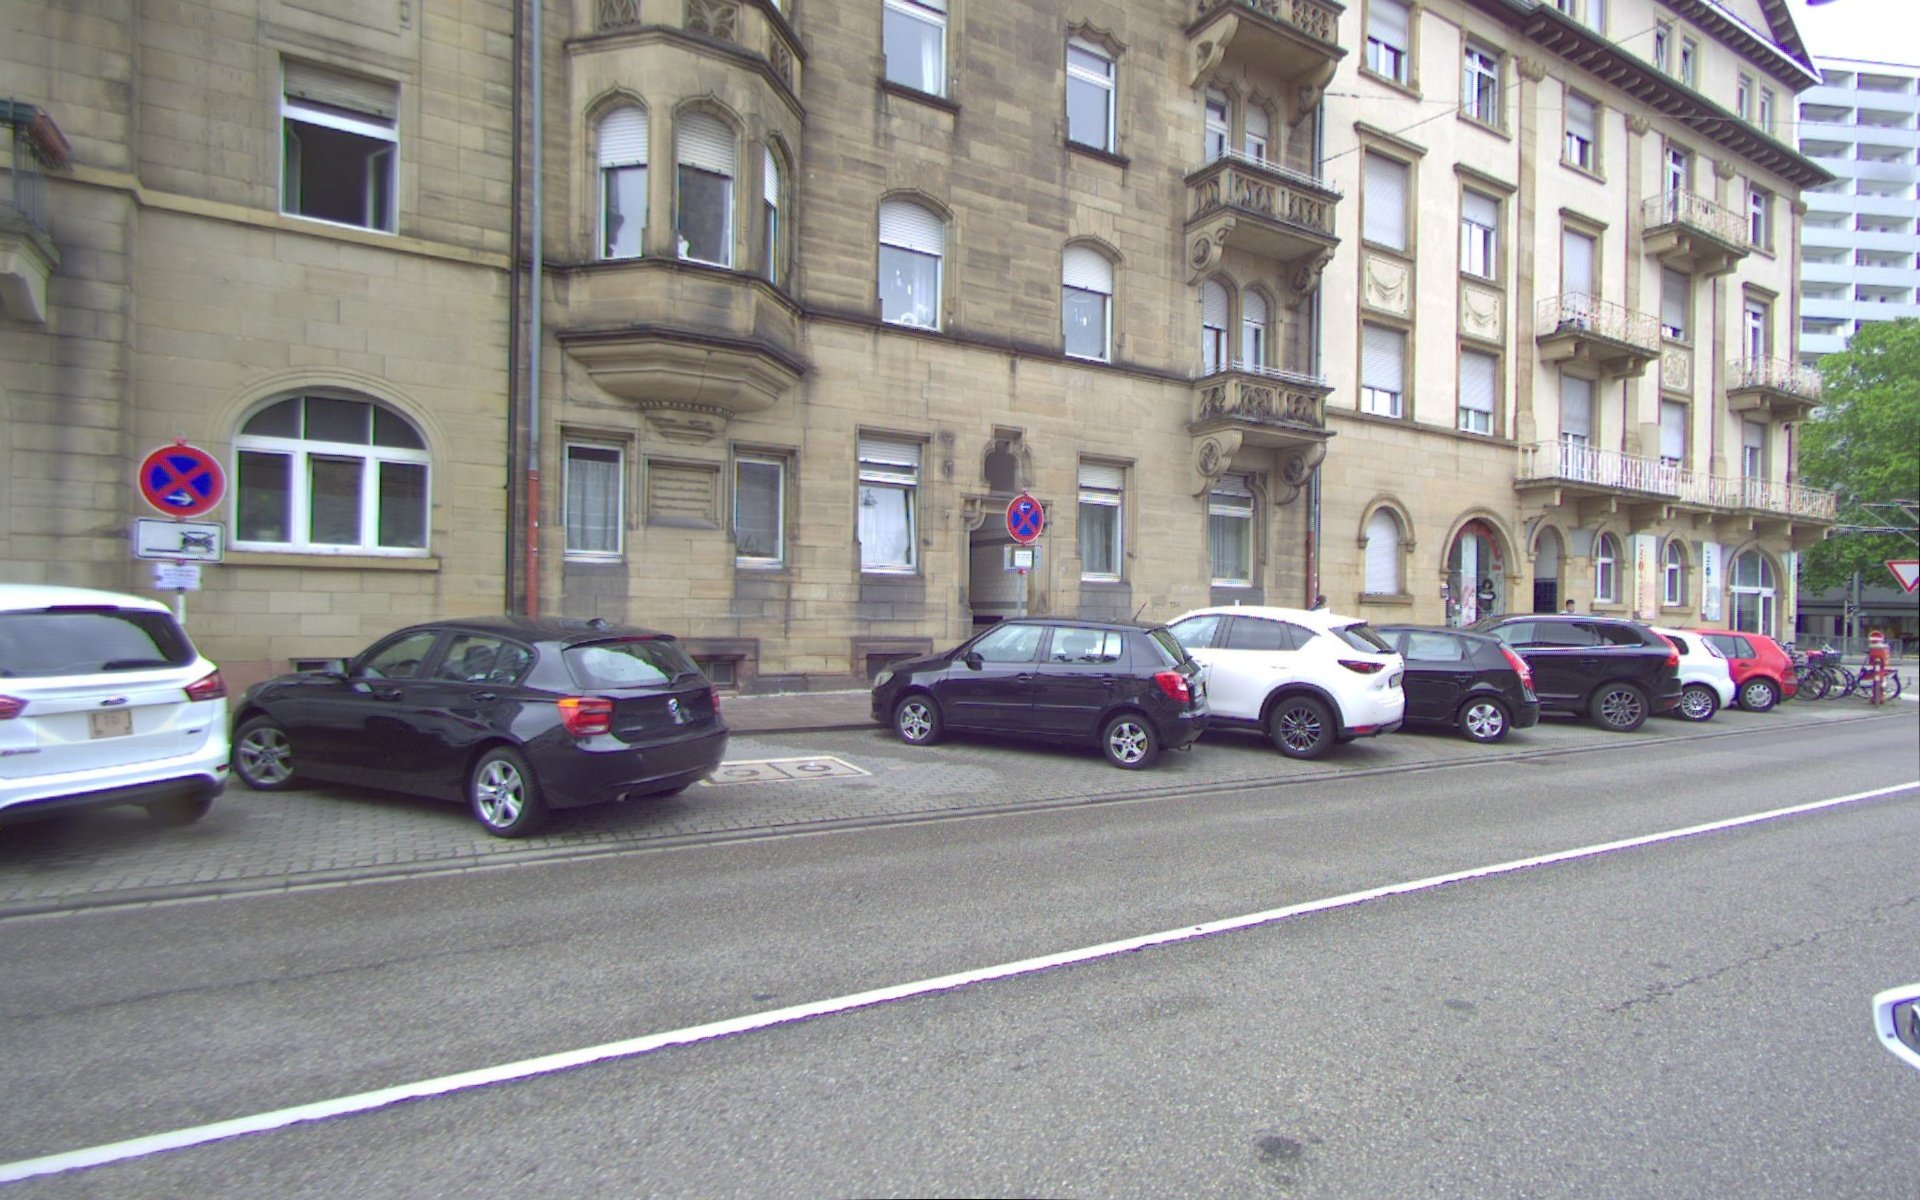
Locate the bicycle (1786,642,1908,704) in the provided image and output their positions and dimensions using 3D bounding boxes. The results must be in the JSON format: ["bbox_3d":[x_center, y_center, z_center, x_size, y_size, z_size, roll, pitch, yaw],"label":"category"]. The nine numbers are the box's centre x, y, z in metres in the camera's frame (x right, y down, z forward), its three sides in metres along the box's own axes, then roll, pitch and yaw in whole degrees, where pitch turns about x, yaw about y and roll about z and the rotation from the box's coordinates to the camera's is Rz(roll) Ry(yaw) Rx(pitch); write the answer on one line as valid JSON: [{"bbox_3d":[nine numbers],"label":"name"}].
[{"bbox_3d":[19.257,1.558,21.853,0.437,1.050,1.876,1,5,-31],"label":"bicycle"}]

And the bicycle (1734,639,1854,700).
[{"bbox_3d":[17.998,1.482,21.720,0.437,1.050,1.876,1,5,-31],"label":"bicycle"}]

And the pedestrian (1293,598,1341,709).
[{"bbox_3d":[6.542,0.966,18.425,0.544,1.984,0.616,1,-1,-29],"label":"pedestrian"}]

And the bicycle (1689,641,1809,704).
[{"bbox_3d":[16.255,1.475,20.759,0.436,1.050,1.879,1,4,-26],"label":"bicycle"}]

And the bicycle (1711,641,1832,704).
[{"bbox_3d":[16.993,1.494,21.090,0.437,1.050,1.876,1,5,-31],"label":"bicycle"}]

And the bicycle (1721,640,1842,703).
[{"bbox_3d":[17.443,1.488,21.371,0.437,1.050,1.876,1,5,-31],"label":"bicycle"}]

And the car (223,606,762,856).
[{"bbox_3d":[-3.676,0.840,7.860,3.924,1.436,1.660,2,0,25],"label":"car"}]

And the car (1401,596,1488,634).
[{"bbox_3d":[11.501,0.369,23.851,1.991,0.845,0.909,2,-1,-30],"label":"car"}]

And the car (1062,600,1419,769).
[{"bbox_3d":[3.460,0.926,12.666,3.935,1.746,1.835,1,-1,36],"label":"car"}]

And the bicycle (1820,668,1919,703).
[{"bbox_3d":[20.295,1.879,22.085,1.017,0.451,1.876,0,5,-31],"label":"bicycle"}]

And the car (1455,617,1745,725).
[{"bbox_3d":[10.932,1.160,17.469,3.920,1.492,1.564,3,2,18],"label":"car"}]

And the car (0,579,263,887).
[{"bbox_3d":[-6.742,0.673,6.587,3.922,1.575,1.703,3,1,22],"label":"car"}]

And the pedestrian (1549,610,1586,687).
[{"bbox_3d":[14.509,1.145,23.996,0.544,1.809,0.564,1,-1,-29],"label":"pedestrian"}]

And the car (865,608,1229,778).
[{"bbox_3d":[0.985,0.935,11.280,3.738,1.517,1.569,2,0,22],"label":"car"}]

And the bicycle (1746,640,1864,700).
[{"bbox_3d":[18.521,1.514,22.070,0.437,1.050,1.876,1,5,-31],"label":"bicycle"}]

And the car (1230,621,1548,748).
[{"bbox_3d":[6.025,1.114,14.398,3.923,1.514,1.731,1,-1,23],"label":"car"}]

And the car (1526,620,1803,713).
[{"bbox_3d":[13.243,1.210,19.118,3.919,1.492,1.685,2,1,12],"label":"car"}]

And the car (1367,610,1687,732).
[{"bbox_3d":[8.795,1.046,16.003,4.141,1.673,1.732,1,0,18],"label":"car"}]
